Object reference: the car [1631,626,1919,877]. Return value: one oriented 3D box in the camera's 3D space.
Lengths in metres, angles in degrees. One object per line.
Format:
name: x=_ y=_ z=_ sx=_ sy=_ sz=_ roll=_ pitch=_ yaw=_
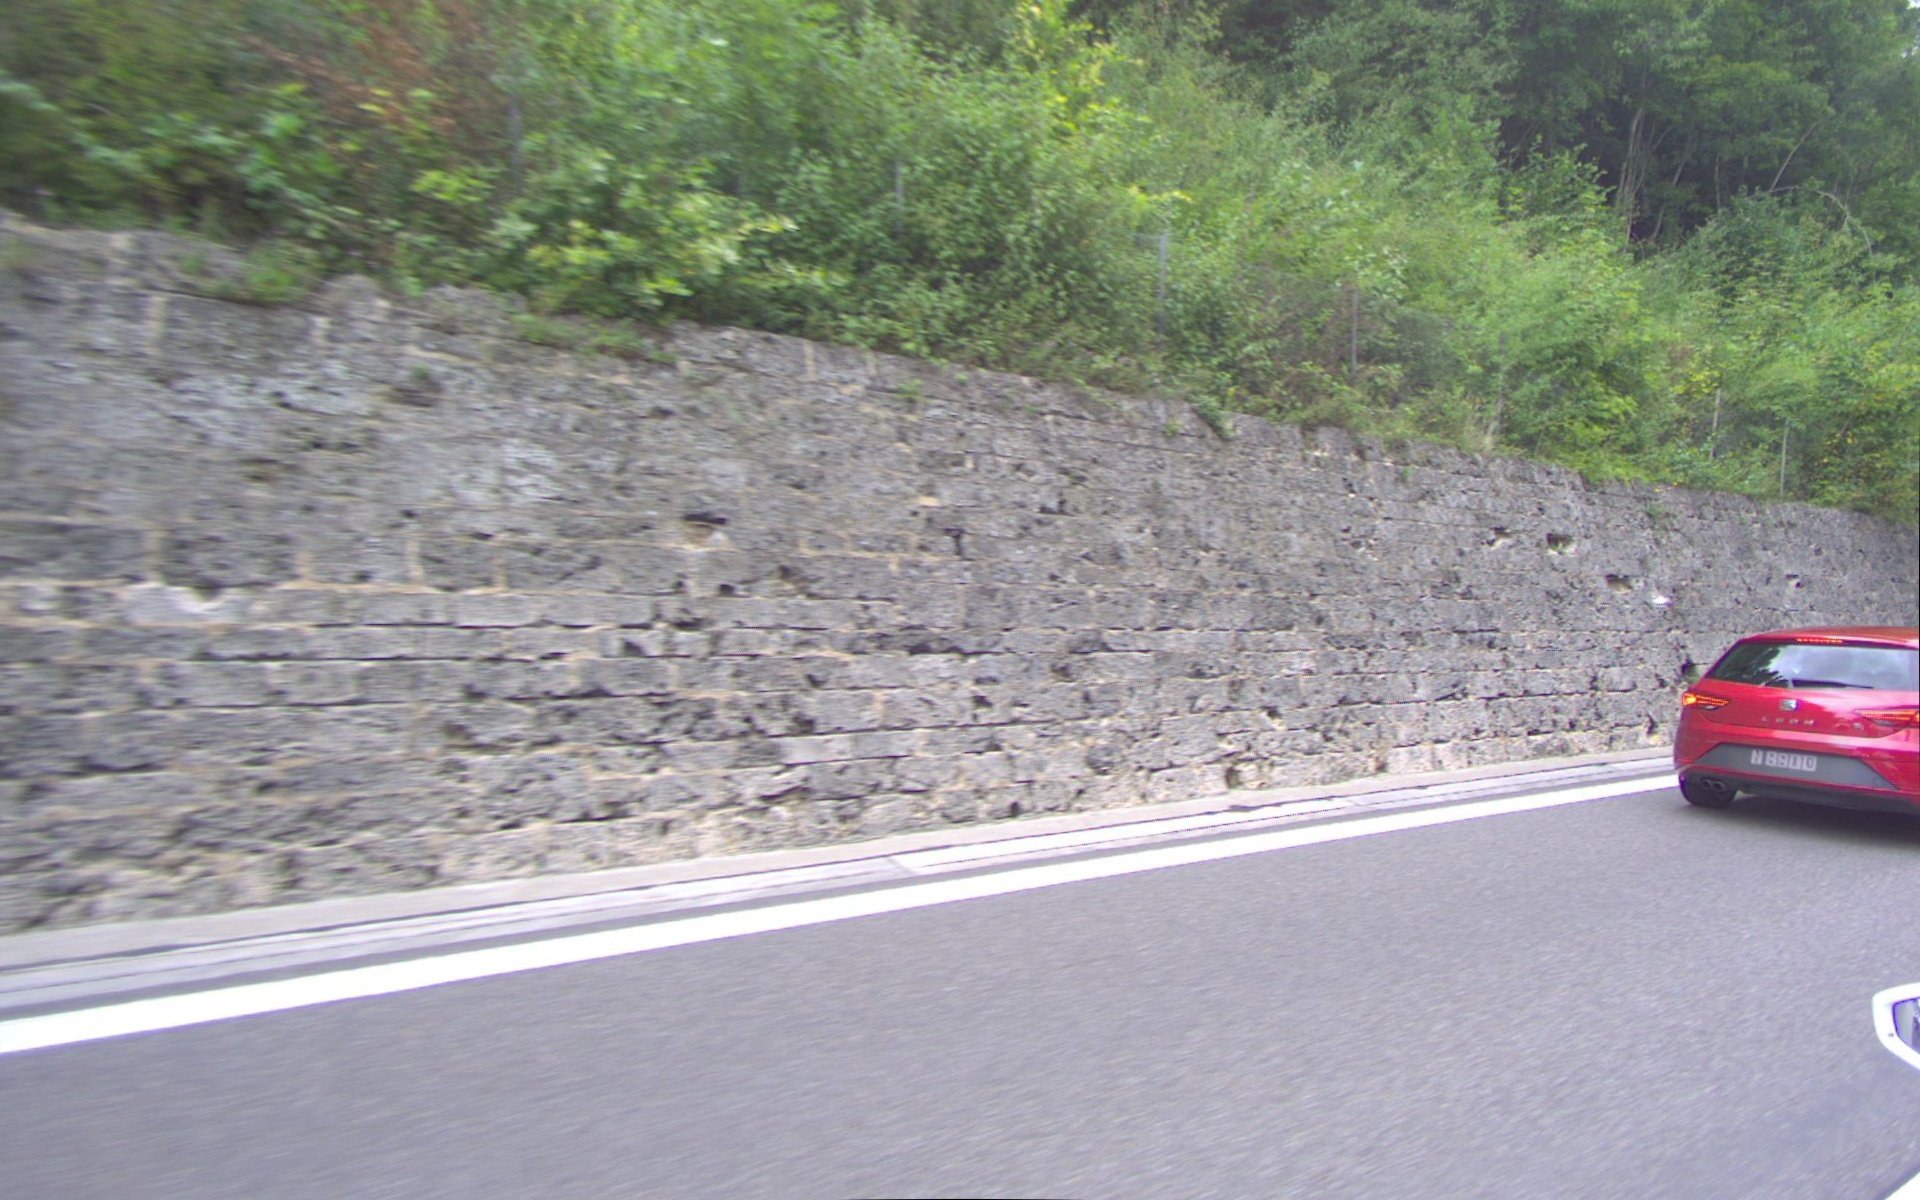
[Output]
car: x=7.376 y=1.005 z=7.904 sx=4.360 sy=1.479 sz=1.758 roll=2 pitch=0 yaw=-31
